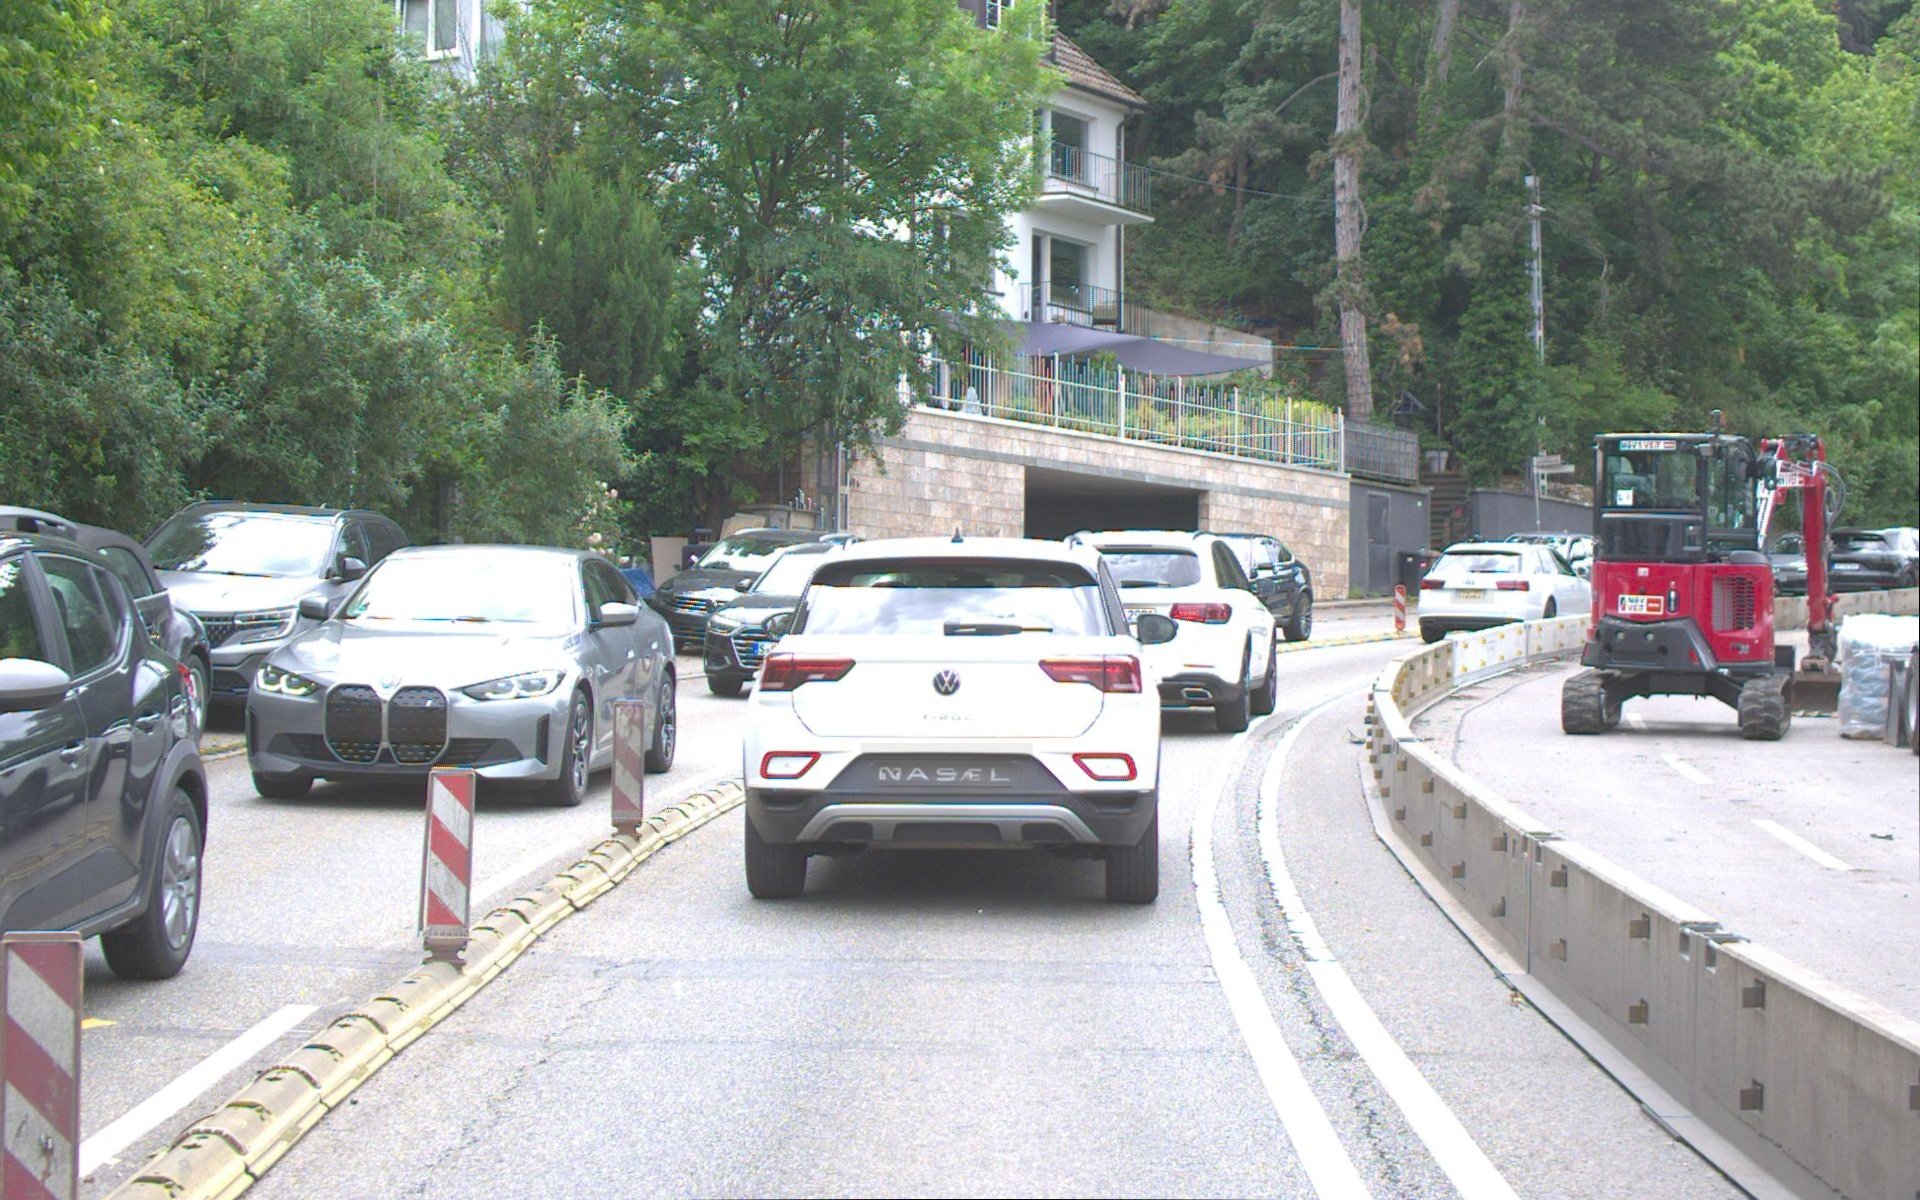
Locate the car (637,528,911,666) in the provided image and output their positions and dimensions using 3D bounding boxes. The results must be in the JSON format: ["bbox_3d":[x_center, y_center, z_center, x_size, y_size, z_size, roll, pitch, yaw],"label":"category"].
[{"bbox_3d":[-2.136,-0.063,40.954,1.737,1.446,4.680,4,2,16],"label":"car"}]

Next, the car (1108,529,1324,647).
[{"bbox_3d":[3.692,-0.197,48.832,1.769,1.562,4.224,2,1,23],"label":"car"}]

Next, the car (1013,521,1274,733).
[{"bbox_3d":[1.624,0.182,29.052,1.810,1.657,3.999,-1,1,9],"label":"car"}]

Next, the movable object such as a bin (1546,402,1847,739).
[{"bbox_3d":[6.488,-0.289,29.866,2.213,2.653,4.941,1,1,16],"label":"movable object such as a bin"}]

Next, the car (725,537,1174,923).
[{"bbox_3d":[-0.033,0.490,15.898,1.810,1.526,4.000,0,1,0],"label":"car"}]

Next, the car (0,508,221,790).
[{"bbox_3d":[-5.955,0.204,20.811,1.794,1.505,4.000,3,1,4],"label":"car"}]

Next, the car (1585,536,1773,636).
[{"bbox_3d":[12.538,-0.265,59.788,1.813,1.657,3.992,0,1,34],"label":"car"}]

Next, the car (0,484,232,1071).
[{"bbox_3d":[-3.512,0.456,9.989,1.815,1.616,3.819,2,1,2],"label":"car"}]

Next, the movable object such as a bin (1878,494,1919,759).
[{"bbox_3d":[7.860,0.212,24.901,1.701,1.936,4.164,1,1,6],"label":"movable object such as a bin"}]

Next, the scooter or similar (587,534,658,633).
[{"bbox_3d":[-4.320,-0.216,44.052,0.416,1.228,1.120,3,1,19],"label":"scooter or similar"}]

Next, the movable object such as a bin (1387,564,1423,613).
[{"bbox_3d":[8.880,-0.240,68.572,0.550,0.973,0.509,0,1,34],"label":"movable object such as a bin"}]

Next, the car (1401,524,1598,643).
[{"bbox_3d":[7.935,-0.267,50.277,1.812,1.657,3.995,0,1,25],"label":"car"}]

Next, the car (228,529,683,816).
[{"bbox_3d":[-2.901,0.372,20.712,1.796,1.477,4.328,2,1,4],"label":"car"}]

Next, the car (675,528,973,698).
[{"bbox_3d":[-1.238,0.069,33.342,1.796,1.441,4.360,2,2,13],"label":"car"}]

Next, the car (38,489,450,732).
[{"bbox_3d":[-5.301,0.042,26.017,1.687,1.600,4.185,3,1,8],"label":"car"}]

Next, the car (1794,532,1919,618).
[{"bbox_3d":[18.256,-0.528,69.006,1.813,1.657,3.993,0,1,31],"label":"car"}]
